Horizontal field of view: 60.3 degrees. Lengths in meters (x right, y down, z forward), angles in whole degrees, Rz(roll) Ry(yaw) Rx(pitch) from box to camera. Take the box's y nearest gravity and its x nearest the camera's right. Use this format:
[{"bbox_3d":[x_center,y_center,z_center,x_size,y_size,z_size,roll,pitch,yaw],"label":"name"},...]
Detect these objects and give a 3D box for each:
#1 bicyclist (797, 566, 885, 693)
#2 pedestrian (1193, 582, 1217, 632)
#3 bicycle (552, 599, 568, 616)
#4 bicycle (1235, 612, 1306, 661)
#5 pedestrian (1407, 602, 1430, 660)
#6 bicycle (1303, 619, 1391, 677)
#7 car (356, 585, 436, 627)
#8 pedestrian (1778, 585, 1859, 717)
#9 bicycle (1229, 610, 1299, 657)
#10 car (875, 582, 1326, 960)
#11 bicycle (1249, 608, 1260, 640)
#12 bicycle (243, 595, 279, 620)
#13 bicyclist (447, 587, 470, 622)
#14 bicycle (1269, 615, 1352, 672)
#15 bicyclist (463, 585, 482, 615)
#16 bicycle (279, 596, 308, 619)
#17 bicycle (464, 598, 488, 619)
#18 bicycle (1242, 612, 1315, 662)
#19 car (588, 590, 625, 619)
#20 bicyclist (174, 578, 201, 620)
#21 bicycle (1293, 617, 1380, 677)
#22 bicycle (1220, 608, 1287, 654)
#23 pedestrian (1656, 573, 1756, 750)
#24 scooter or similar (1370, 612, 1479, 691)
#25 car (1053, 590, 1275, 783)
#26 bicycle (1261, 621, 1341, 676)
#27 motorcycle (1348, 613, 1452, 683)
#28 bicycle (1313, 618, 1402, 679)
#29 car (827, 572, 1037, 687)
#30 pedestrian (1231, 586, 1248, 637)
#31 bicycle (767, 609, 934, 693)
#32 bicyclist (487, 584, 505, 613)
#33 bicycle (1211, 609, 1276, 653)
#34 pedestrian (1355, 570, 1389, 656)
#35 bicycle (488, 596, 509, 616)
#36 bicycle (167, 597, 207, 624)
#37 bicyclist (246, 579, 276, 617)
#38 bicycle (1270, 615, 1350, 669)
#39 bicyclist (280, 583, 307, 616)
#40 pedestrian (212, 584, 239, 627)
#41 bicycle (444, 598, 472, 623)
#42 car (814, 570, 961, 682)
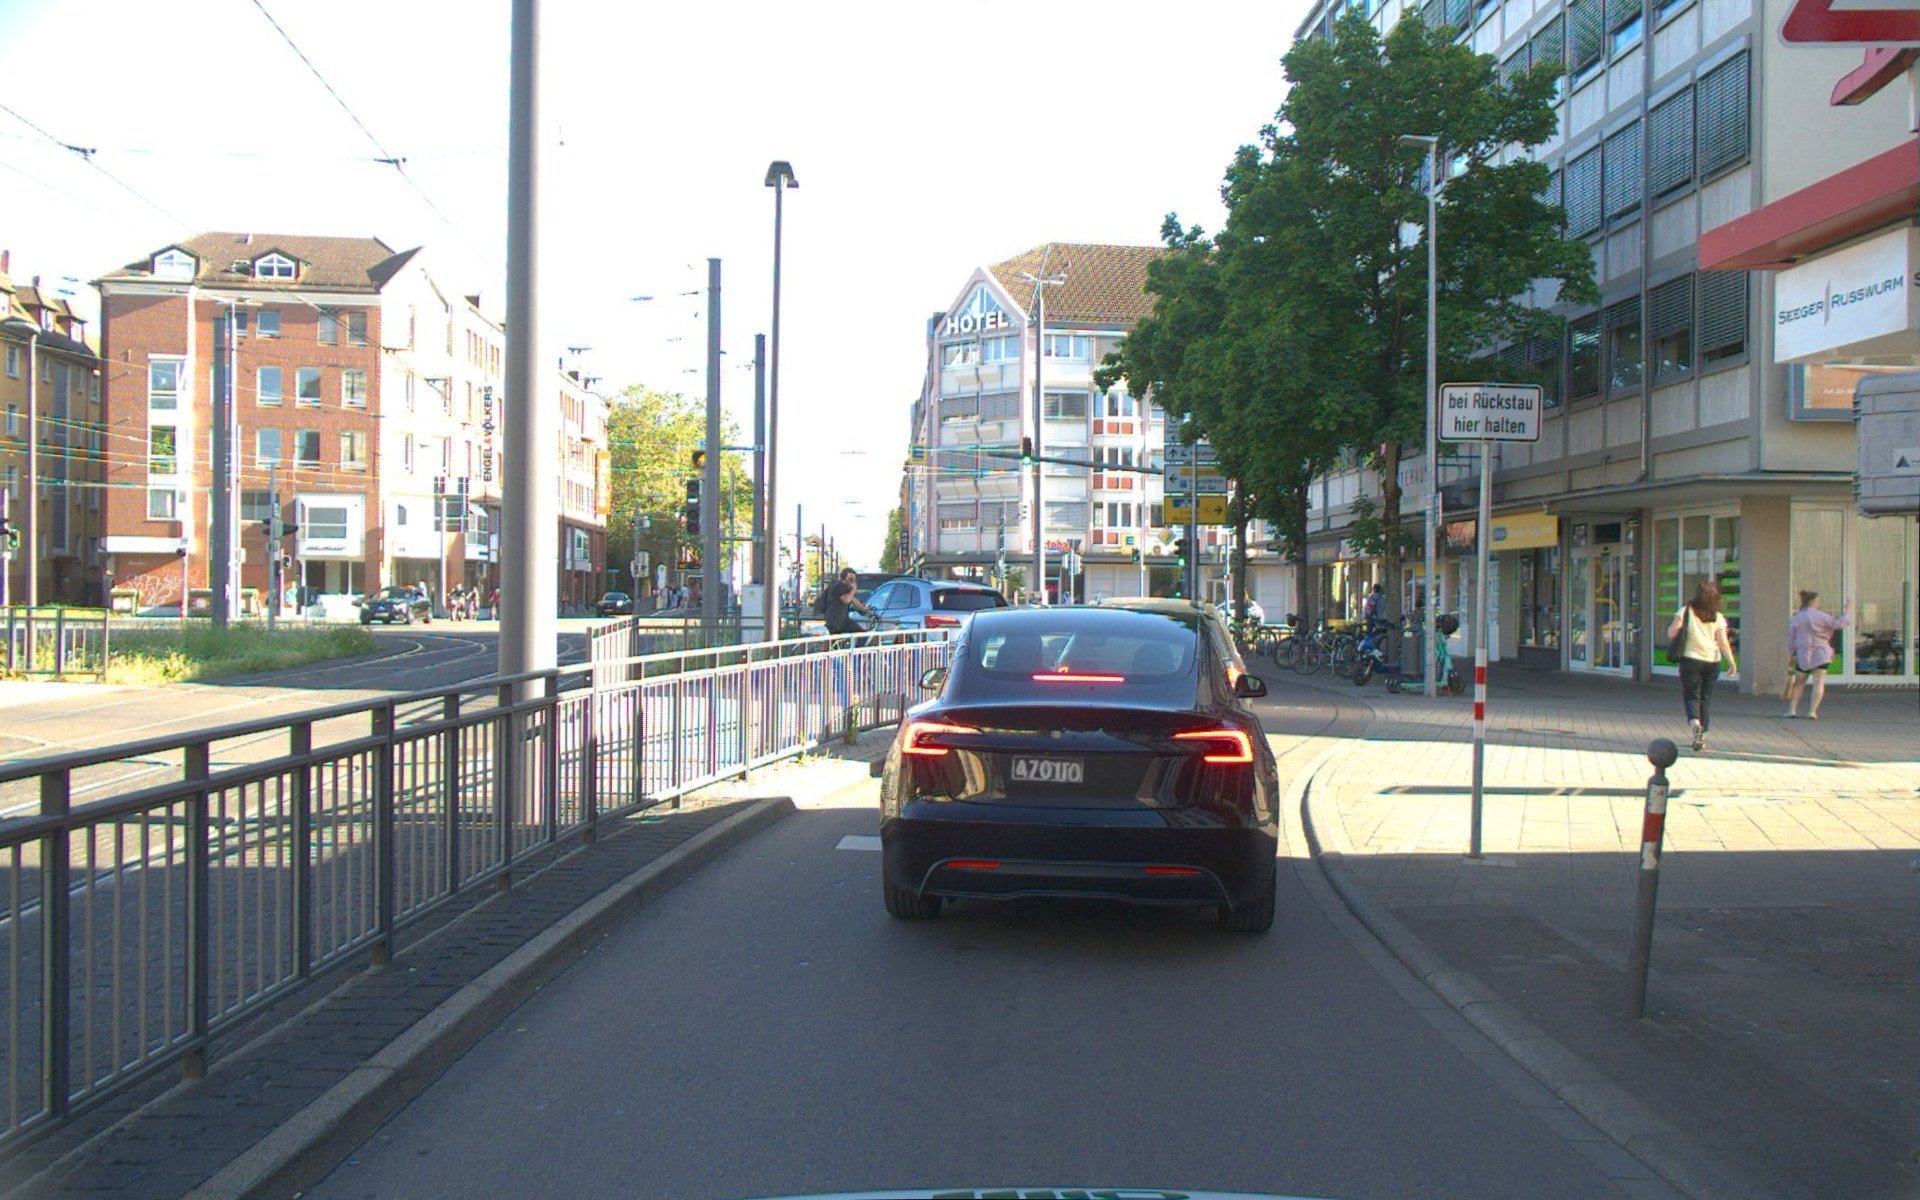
[{"bbox_3d":[-1.604,0.384,22.258,0.753,1.657,0.964,1,-1,-39],"label":"bicyclist"},{"bbox_3d":[8.390,0.249,56.672,0.685,1.691,0.777,1,-1,-1],"label":"pedestrian"},{"bbox_3d":[-26.936,0.523,111.370,0.518,1.107,2.225,1,0,1],"label":"bicycle"},{"bbox_3d":[7.396,0.863,39.411,1.616,1.118,0.350,1,-1,1],"label":"bicycle"},{"bbox_3d":[10.932,0.740,39.431,0.381,1.367,0.513,1,-1,1],"label":"pedestrian"},{"bbox_3d":[7.380,0.913,31.531,1.620,1.079,0.349,1,-1,-11],"label":"bicycle"},{"bbox_3d":[-21.705,0.238,63.811,1.675,1.553,4.036,1,0,0],"label":"car"},{"bbox_3d":[11.387,0.658,21.965,0.871,1.696,0.808,1,-1,23],"label":"pedestrian"},{"bbox_3d":[7.425,0.816,40.425,1.616,1.118,0.350,1,-1,1],"label":"bicycle"},{"bbox_3d":[0.704,0.694,8.672,1.791,1.481,4.002,1,0,4],"label":"car"},{"bbox_3d":[10.041,0.814,56.436,0.325,1.052,1.257,1,0,8],"label":"bicycle"},{"bbox_3d":[-28.434,0.322,67.333,0.513,0.988,2.246,1,0,-1],"label":"bicycle"},{"bbox_3d":[-22.608,0.199,74.577,0.769,1.554,0.589,1,-1,4],"label":"bicyclist"},{"bbox_3d":[7.093,0.883,33.478,1.620,1.118,0.349,1,-1,-11],"label":"bicycle"},{"bbox_3d":[-25.939,-0.006,87.949,0.767,1.590,0.746,0,0,1],"label":"bicyclist"},{"bbox_3d":[-29.692,0.330,73.664,0.396,0.998,1.695,1,0,7],"label":"bicycle"},{"bbox_3d":[-25.933,0.465,88.668,0.518,1.107,2.284,1,0,1],"label":"bicycle"},{"bbox_3d":[7.380,0.862,38.384,1.616,1.118,0.350,1,-1,1],"label":"bicycle"},{"bbox_3d":[-22.218,0.273,104.028,1.663,1.762,3.704,1,0,-3],"label":"car"},{"bbox_3d":[-28.264,-0.033,60.525,0.620,1.529,0.696,1,-1,-1],"label":"bicyclist"},{"bbox_3d":[7.275,0.906,31.954,1.620,1.118,0.349,1,-1,-11],"label":"bicycle"},{"bbox_3d":[7.359,0.773,41.470,1.616,1.118,0.350,0,0,1],"label":"bicycle"},{"bbox_3d":[7.791,0.622,17.312,0.895,1.783,1.038,1,-1,22],"label":"pedestrian"},{"bbox_3d":[7.659,0.836,27.277,1.610,1.236,0.644,1,-1,30],"label":"scooter or similar"},{"bbox_3d":[1.799,0.668,15.024,1.714,1.480,4.003,1,0,6],"label":"car"},{"bbox_3d":[7.097,1.003,34.423,1.620,1.118,0.349,1,-1,-11],"label":"bicycle"},{"bbox_3d":[7.805,0.846,29.354,1.673,1.194,0.541,1,-1,-3],"label":"motorcycle"},{"bbox_3d":[7.476,0.914,31.111,1.620,1.118,0.349,1,-1,-11],"label":"bicycle"},{"bbox_3d":[-0.545,0.438,26.532,1.859,1.691,4.125,1,0,-25],"label":"car"},{"bbox_3d":[9.614,0.390,56.850,0.515,1.740,0.403,1,-1,3],"label":"pedestrian"},{"bbox_3d":[-1.463,0.679,22.400,2.313,1.072,0.622,1,-1,-39],"label":"bicycle"},{"bbox_3d":[-25.623,-0.097,91.256,0.767,1.590,0.746,0,0,1],"label":"bicyclist"},{"bbox_3d":[7.289,0.797,42.563,1.616,1.118,0.350,1,-1,1],"label":"bicycle"},{"bbox_3d":[9.908,0.306,39.806,0.648,2.049,0.579,1,-1,1],"label":"pedestrian"},{"bbox_3d":[-25.582,0.321,91.729,0.518,1.107,2.225,0,0,1],"label":"bicycle"},{"bbox_3d":[-28.276,0.385,60.533,0.437,0.988,2.246,1,0,-1],"label":"bicycle"},{"bbox_3d":[-28.436,-0.067,67.303,0.880,1.529,0.696,1,-1,-1],"label":"bicyclist"},{"bbox_3d":[7.495,0.897,35.433,1.616,1.118,0.350,1,-1,1],"label":"bicycle"},{"bbox_3d":[-29.684,-0.025,73.666,0.689,1.496,0.973,0,0,7],"label":"bicyclist"},{"bbox_3d":[-31.530,0.234,70.987,0.767,1.852,0.746,1,-1,1],"label":"pedestrian"},{"bbox_3d":[-22.606,0.488,74.520,0.449,1.112,2.202,1,0,3],"label":"bicycle"},{"bbox_3d":[-1.496,0.484,32.560,1.962,2.049,3.981,0,0,-17],"label":"car"}]
